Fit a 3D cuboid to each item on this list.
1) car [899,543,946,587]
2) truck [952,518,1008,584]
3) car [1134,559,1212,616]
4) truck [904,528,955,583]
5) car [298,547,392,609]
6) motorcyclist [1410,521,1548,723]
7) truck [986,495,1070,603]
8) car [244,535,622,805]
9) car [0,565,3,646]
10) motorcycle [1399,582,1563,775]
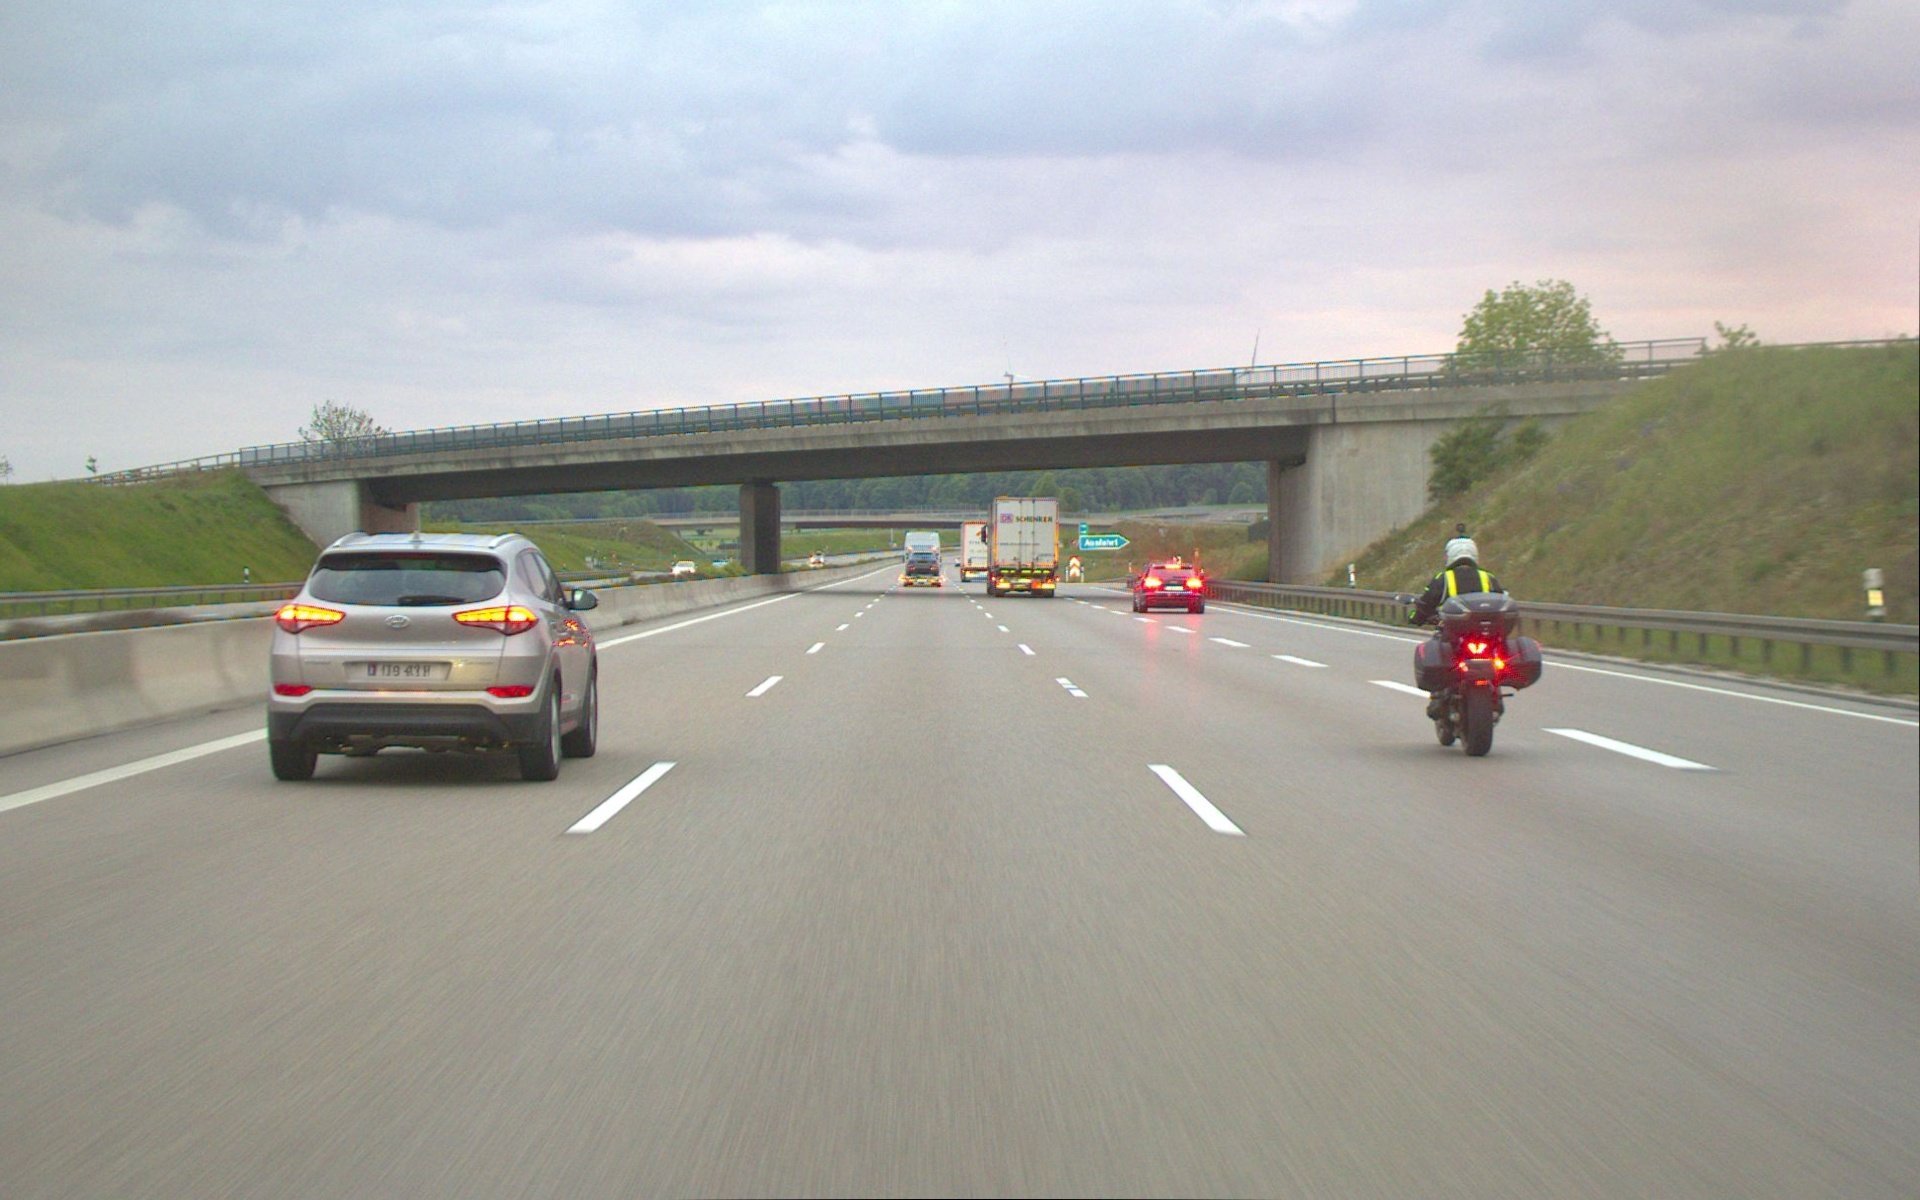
[{"bbox_3d":[-2.107,-1.976,192.519,2.516,2.383,6.497,-1,1,-1],"label":"car"},{"bbox_3d":[1.340,-3.349,233.372,3.525,4.330,8.406,1,1,-1],"label":"truck"},{"bbox_3d":[6.143,-0.371,99.580,1.918,1.574,4.000,0,1,-1],"label":"car"},{"bbox_3d":[-1.893,-2.756,208.695,2.951,3.206,8.406,1,1,-1],"label":"truck"},{"bbox_3d":[-16.642,-0.602,93.138,1.819,1.623,4.000,0,1,0],"label":"car"},{"bbox_3d":[3.926,0.148,26.086,0.866,1.482,1.168,1,1,1],"label":"motorcyclist"},{"bbox_3d":[2.739,-2.142,141.077,3.234,4.213,9.599,1,1,0],"label":"truck"},{"bbox_3d":[-3.563,0.388,24.253,1.852,1.687,5.512,0,1,0],"label":"car"},{"bbox_3d":[-19.813,0.124,65.250,1.993,1.597,5.200,0,1,-2],"label":"car"},{"bbox_3d":[3.945,0.564,26.214,0.902,1.342,2.349,0,2,0],"label":"motorcycle"}]
